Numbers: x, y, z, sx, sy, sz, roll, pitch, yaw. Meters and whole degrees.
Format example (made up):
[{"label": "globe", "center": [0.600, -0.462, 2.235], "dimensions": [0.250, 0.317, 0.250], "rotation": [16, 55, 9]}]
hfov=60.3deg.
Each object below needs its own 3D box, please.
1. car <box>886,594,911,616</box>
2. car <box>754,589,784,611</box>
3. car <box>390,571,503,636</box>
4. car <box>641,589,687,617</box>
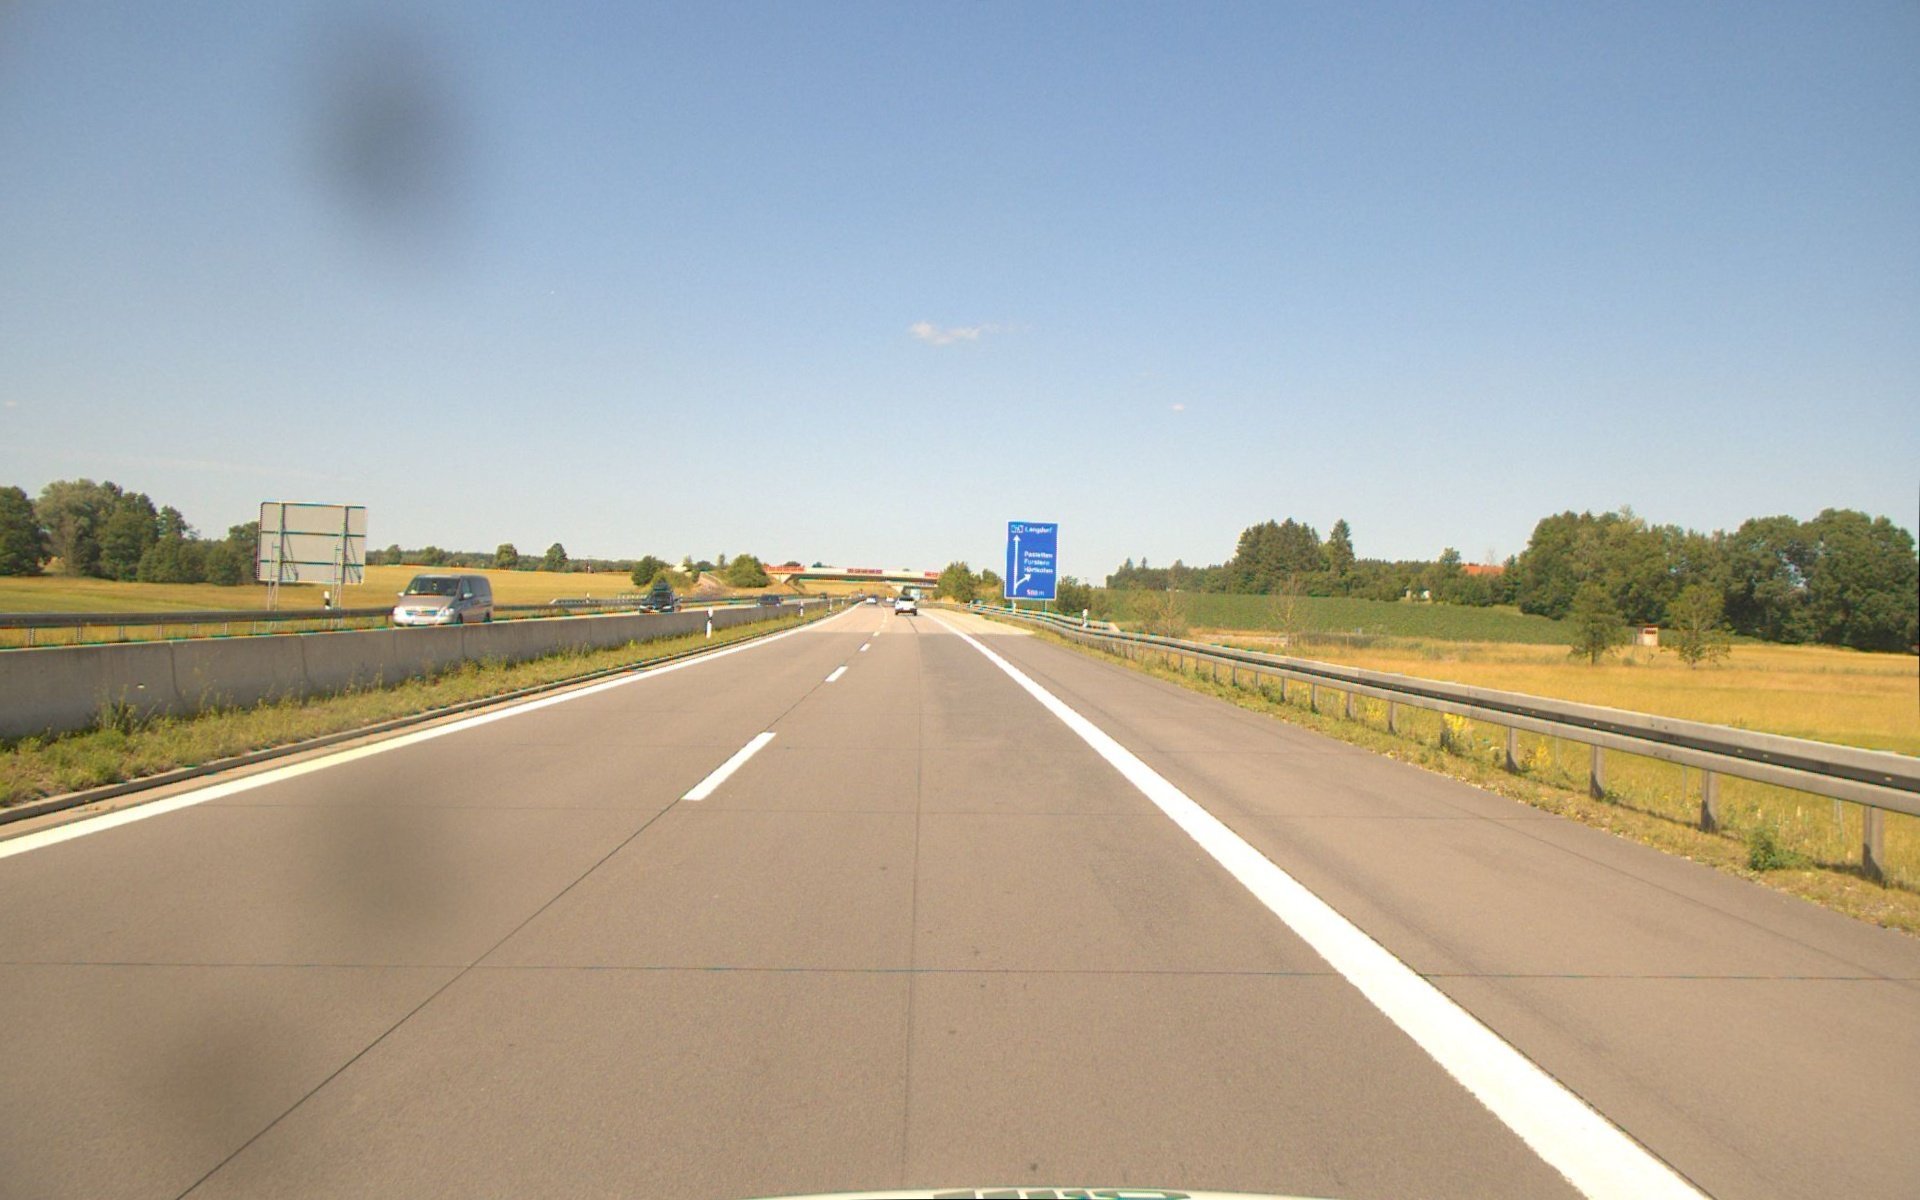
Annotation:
[{"label": "car", "center": [-5.122, 0.399, 137.254], "dimensions": [1.954, 1.761, 4.865], "rotation": [2, 0, -4]}, {"label": "car", "center": [-14.107, -0.011, 122.378], "dimensions": [1.859, 1.550, 4.804], "rotation": [0, 0, -2]}, {"label": "car", "center": [-15.602, 0.085, 50.520], "dimensions": [1.914, 1.874, 5.447], "rotation": [0, 0, -2]}, {"label": "car", "center": [-16.613, 0.162, 93.079], "dimensions": [1.859, 1.550, 4.804], "rotation": [0, 0, -2]}]
